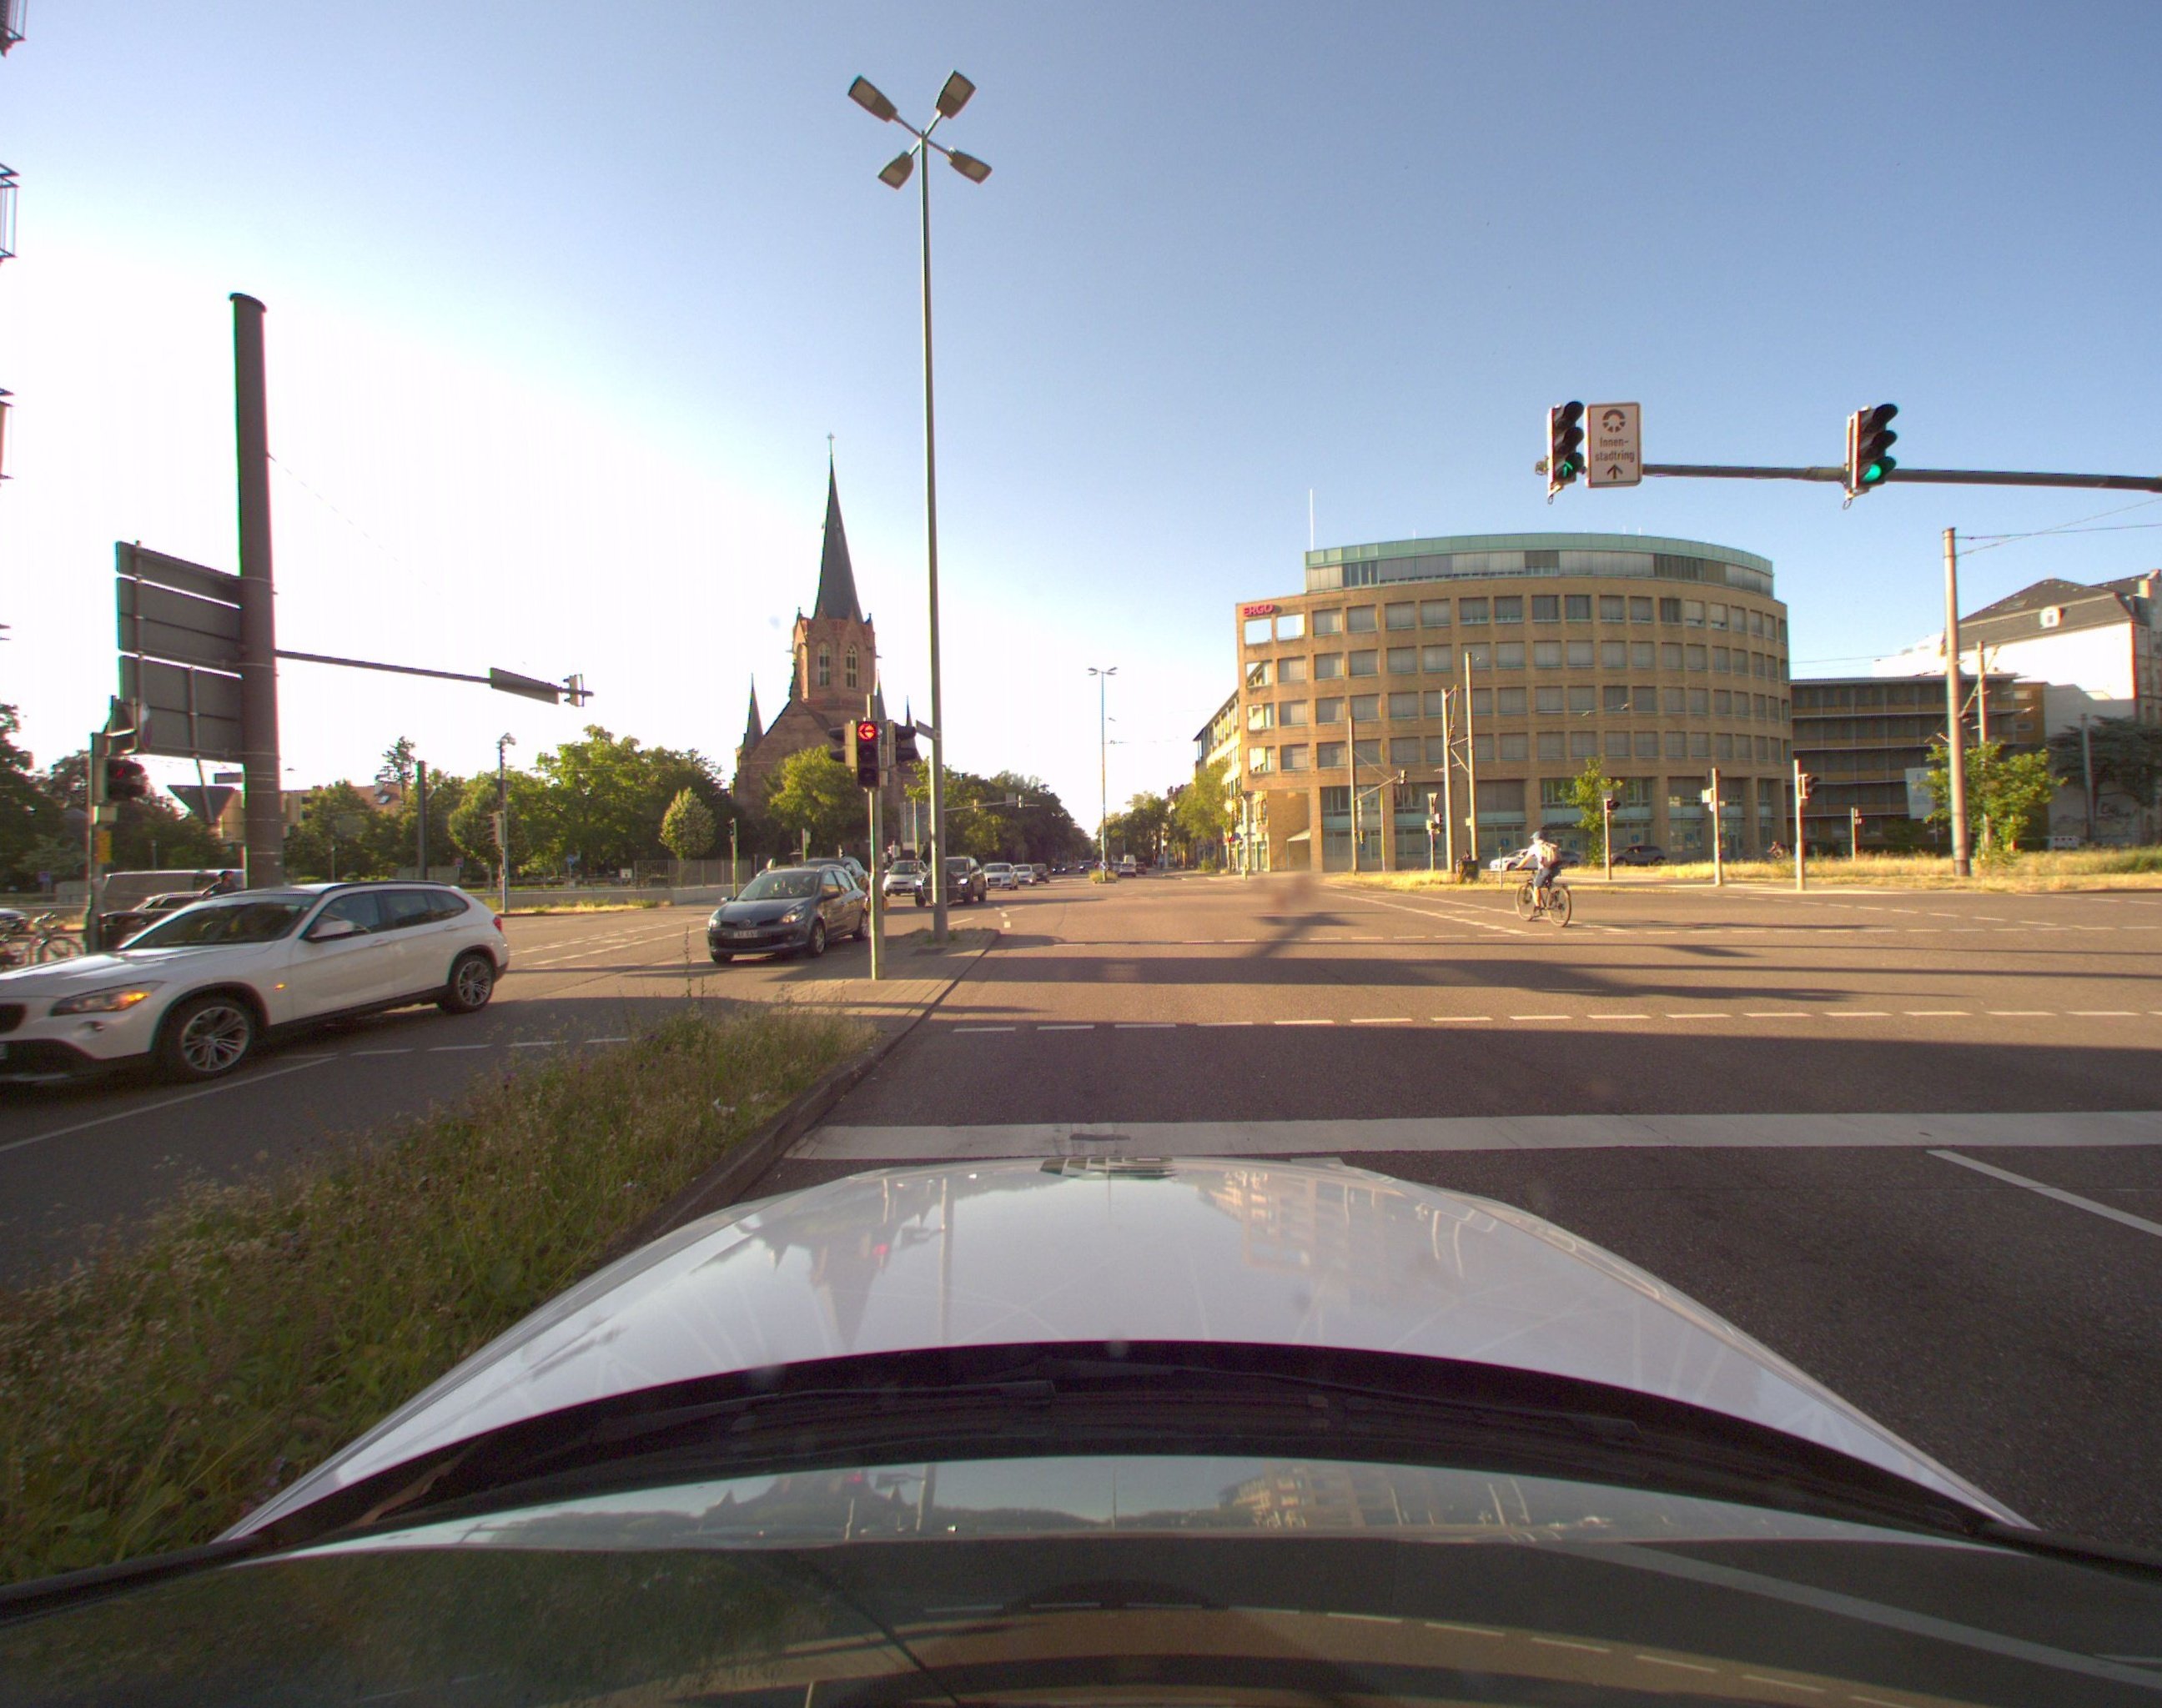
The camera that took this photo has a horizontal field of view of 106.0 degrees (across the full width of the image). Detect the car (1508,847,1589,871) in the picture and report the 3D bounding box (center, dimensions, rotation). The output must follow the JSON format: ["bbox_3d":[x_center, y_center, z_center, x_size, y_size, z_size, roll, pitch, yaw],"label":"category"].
[{"bbox_3d":[32.629,0.341,56.924,4.465,1.537,1.987,-2,-1,2],"label":"car"}]

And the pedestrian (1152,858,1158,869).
[{"bbox_3d":[11.988,1.479,131.279,0.844,1.803,0.776,-2,0,1],"label":"pedestrian"}]

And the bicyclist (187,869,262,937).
[{"bbox_3d":[-21.102,1.189,20.087,0.733,1.598,0.963,-3,0,1],"label":"bicyclist"}]

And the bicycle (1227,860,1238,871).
[{"bbox_3d":[15.033,1.131,80.753,0.644,0.994,2.081,-2,-1,1],"label":"bicycle"}]

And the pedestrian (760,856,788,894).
[{"bbox_3d":[-14.401,0.973,38.229,0.962,1.739,0.812,-1,-1,-1],"label":"pedestrian"}]

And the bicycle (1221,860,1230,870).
[{"bbox_3d":[15.129,1.169,85.304,0.644,0.994,2.081,-2,-1,1],"label":"bicycle"}]

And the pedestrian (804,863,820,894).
[{"bbox_3d":[-15.216,1.378,46.069,0.708,1.696,0.892,0,-1,-11],"label":"pedestrian"}]

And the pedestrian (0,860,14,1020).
[{"bbox_3d":[-12.986,1.007,9.248,0.606,1.875,0.812,1,0,2],"label":"pedestrian"}]

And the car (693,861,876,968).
[{"bbox_3d":[-4.933,0.921,14.151,1.586,1.471,3.986,-3,0,1],"label":"car"}]

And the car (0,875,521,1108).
[{"bbox_3d":[-7.770,1.044,7.856,1.747,1.488,4.247,-3,0,-1],"label":"car"}]

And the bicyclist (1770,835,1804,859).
[{"bbox_3d":[47.254,-0.482,54.545,1.219,1.572,1.154,-2,-1,-1],"label":"bicyclist"}]

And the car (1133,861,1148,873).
[{"bbox_3d":[7.153,1.563,97.967,1.589,1.267,3.268,-2,0,2],"label":"car"}]

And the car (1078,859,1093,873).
[{"bbox_3d":[0.696,1.702,114.397,1.987,1.724,5.031,-2,-1,1],"label":"car"}]

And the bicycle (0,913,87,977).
[{"bbox_3d":[-19.577,1.672,14.569,0.732,1.051,2.300,-2,-1,1],"label":"bicycle"}]

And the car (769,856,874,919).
[{"bbox_3d":[-7.636,0.912,24.404,1.714,1.628,4.102,-3,0,0],"label":"car"}]

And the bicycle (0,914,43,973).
[{"bbox_3d":[-20.389,1.675,14.533,0.732,1.051,2.300,-2,-1,1],"label":"bicycle"}]

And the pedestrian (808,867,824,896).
[{"bbox_3d":[-15.929,1.624,48.985,0.843,1.696,1.012,0,-1,-14],"label":"pedestrian"}]

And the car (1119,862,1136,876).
[{"bbox_3d":[4.611,1.492,81.607,1.589,1.267,3.268,-2,0,2],"label":"car"}]

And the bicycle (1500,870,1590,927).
[{"bbox_3d":[8.488,0.779,14.994,0.590,0.943,1.979,0,0,2],"label":"bicycle"}]

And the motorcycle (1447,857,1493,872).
[{"bbox_3d":[27.194,0.721,56.933,2.709,0.964,1.032,-2,-1,0],"label":"motorcycle"}]

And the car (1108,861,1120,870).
[{"bbox_3d":[4.471,1.570,111.421,1.589,1.267,3.268,-2,0,2],"label":"car"}]

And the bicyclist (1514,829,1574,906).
[{"bbox_3d":[8.491,0.237,14.957,0.590,1.369,0.930,0,0,2],"label":"bicyclist"}]

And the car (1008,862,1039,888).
[{"bbox_3d":[-3.823,1.368,54.693,1.669,1.544,3.807,-3,0,1],"label":"car"}]

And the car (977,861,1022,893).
[{"bbox_3d":[-4.153,1.157,42.102,1.702,1.425,4.104,-3,0,1],"label":"car"}]

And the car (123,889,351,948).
[{"bbox_3d":[-22.691,1.707,22.015,4.175,1.312,1.800,-2,-1,-1],"label":"car"}]

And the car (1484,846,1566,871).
[{"bbox_3d":[28.234,0.292,51.889,4.150,1.492,1.994,-2,-1,-1],"label":"car"}]

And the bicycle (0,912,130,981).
[{"bbox_3d":[-18.772,1.651,14.592,0.732,1.051,2.300,-2,0,1],"label":"bicycle"}]

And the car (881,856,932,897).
[{"bbox_3d":[-7.450,0.927,34.983,1.531,1.593,2.806,-3,0,-1],"label":"car"}]

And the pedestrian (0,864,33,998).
[{"bbox_3d":[-14.816,1.038,10.848,0.605,1.787,0.813,1,0,5],"label":"pedestrian"}]

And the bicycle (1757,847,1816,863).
[{"bbox_3d":[47.224,0.081,54.550,2.951,1.000,1.154,-2,-1,-1],"label":"bicycle"}]

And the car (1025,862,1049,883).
[{"bbox_3d":[-3.511,1.453,64.967,1.572,1.544,3.478,-3,0,1],"label":"car"}]

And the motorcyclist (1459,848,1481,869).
[{"bbox_3d":[27.196,0.291,56.941,1.061,1.435,1.032,-2,-1,0],"label":"motorcyclist"}]

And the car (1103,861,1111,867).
[{"bbox_3d":[5.138,1.958,160.763,1.589,1.267,3.268,-2,0,2],"label":"car"}]

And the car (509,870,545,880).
[{"bbox_3d":[-92.065,3.445,135.401,4.450,1.571,1.993,-2,-1,-10],"label":"car"}]

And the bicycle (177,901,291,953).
[{"bbox_3d":[-20.852,1.793,20.088,1.770,1.097,0.952,-3,0,1],"label":"bicycle"}]

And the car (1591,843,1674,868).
[{"bbox_3d":[35.112,0.098,51.894,4.038,1.492,1.820,-2,-1,0],"label":"car"}]

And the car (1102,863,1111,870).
[{"bbox_3d":[4.673,2.266,148.441,1.589,1.267,3.268,-2,0,2],"label":"car"}]

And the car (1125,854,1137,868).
[{"bbox_3d":[8.865,1.316,145.300,1.986,2.440,4.001,0,-1,2],"label":"car"}]

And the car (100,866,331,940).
[{"bbox_3d":[-26.651,1.464,25.219,4.908,2.014,1.999,-2,-1,-1],"label":"car"}]

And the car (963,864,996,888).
[{"bbox_3d":[-7.100,1.513,57.063,1.669,1.544,3.639,-3,0,1],"label":"car"}]

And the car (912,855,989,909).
[{"bbox_3d":[-4.239,0.852,27.069,1.669,1.544,4.104,-3,0,2],"label":"car"}]

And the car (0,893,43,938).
[{"bbox_3d":[-35.266,1.978,25.196,3.889,1.374,1.800,-2,-1,-1],"label":"car"}]

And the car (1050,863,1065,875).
[{"bbox_3d":[-3.330,2.146,116.219,1.987,1.724,4.593,-2,-1,1],"label":"car"}]
